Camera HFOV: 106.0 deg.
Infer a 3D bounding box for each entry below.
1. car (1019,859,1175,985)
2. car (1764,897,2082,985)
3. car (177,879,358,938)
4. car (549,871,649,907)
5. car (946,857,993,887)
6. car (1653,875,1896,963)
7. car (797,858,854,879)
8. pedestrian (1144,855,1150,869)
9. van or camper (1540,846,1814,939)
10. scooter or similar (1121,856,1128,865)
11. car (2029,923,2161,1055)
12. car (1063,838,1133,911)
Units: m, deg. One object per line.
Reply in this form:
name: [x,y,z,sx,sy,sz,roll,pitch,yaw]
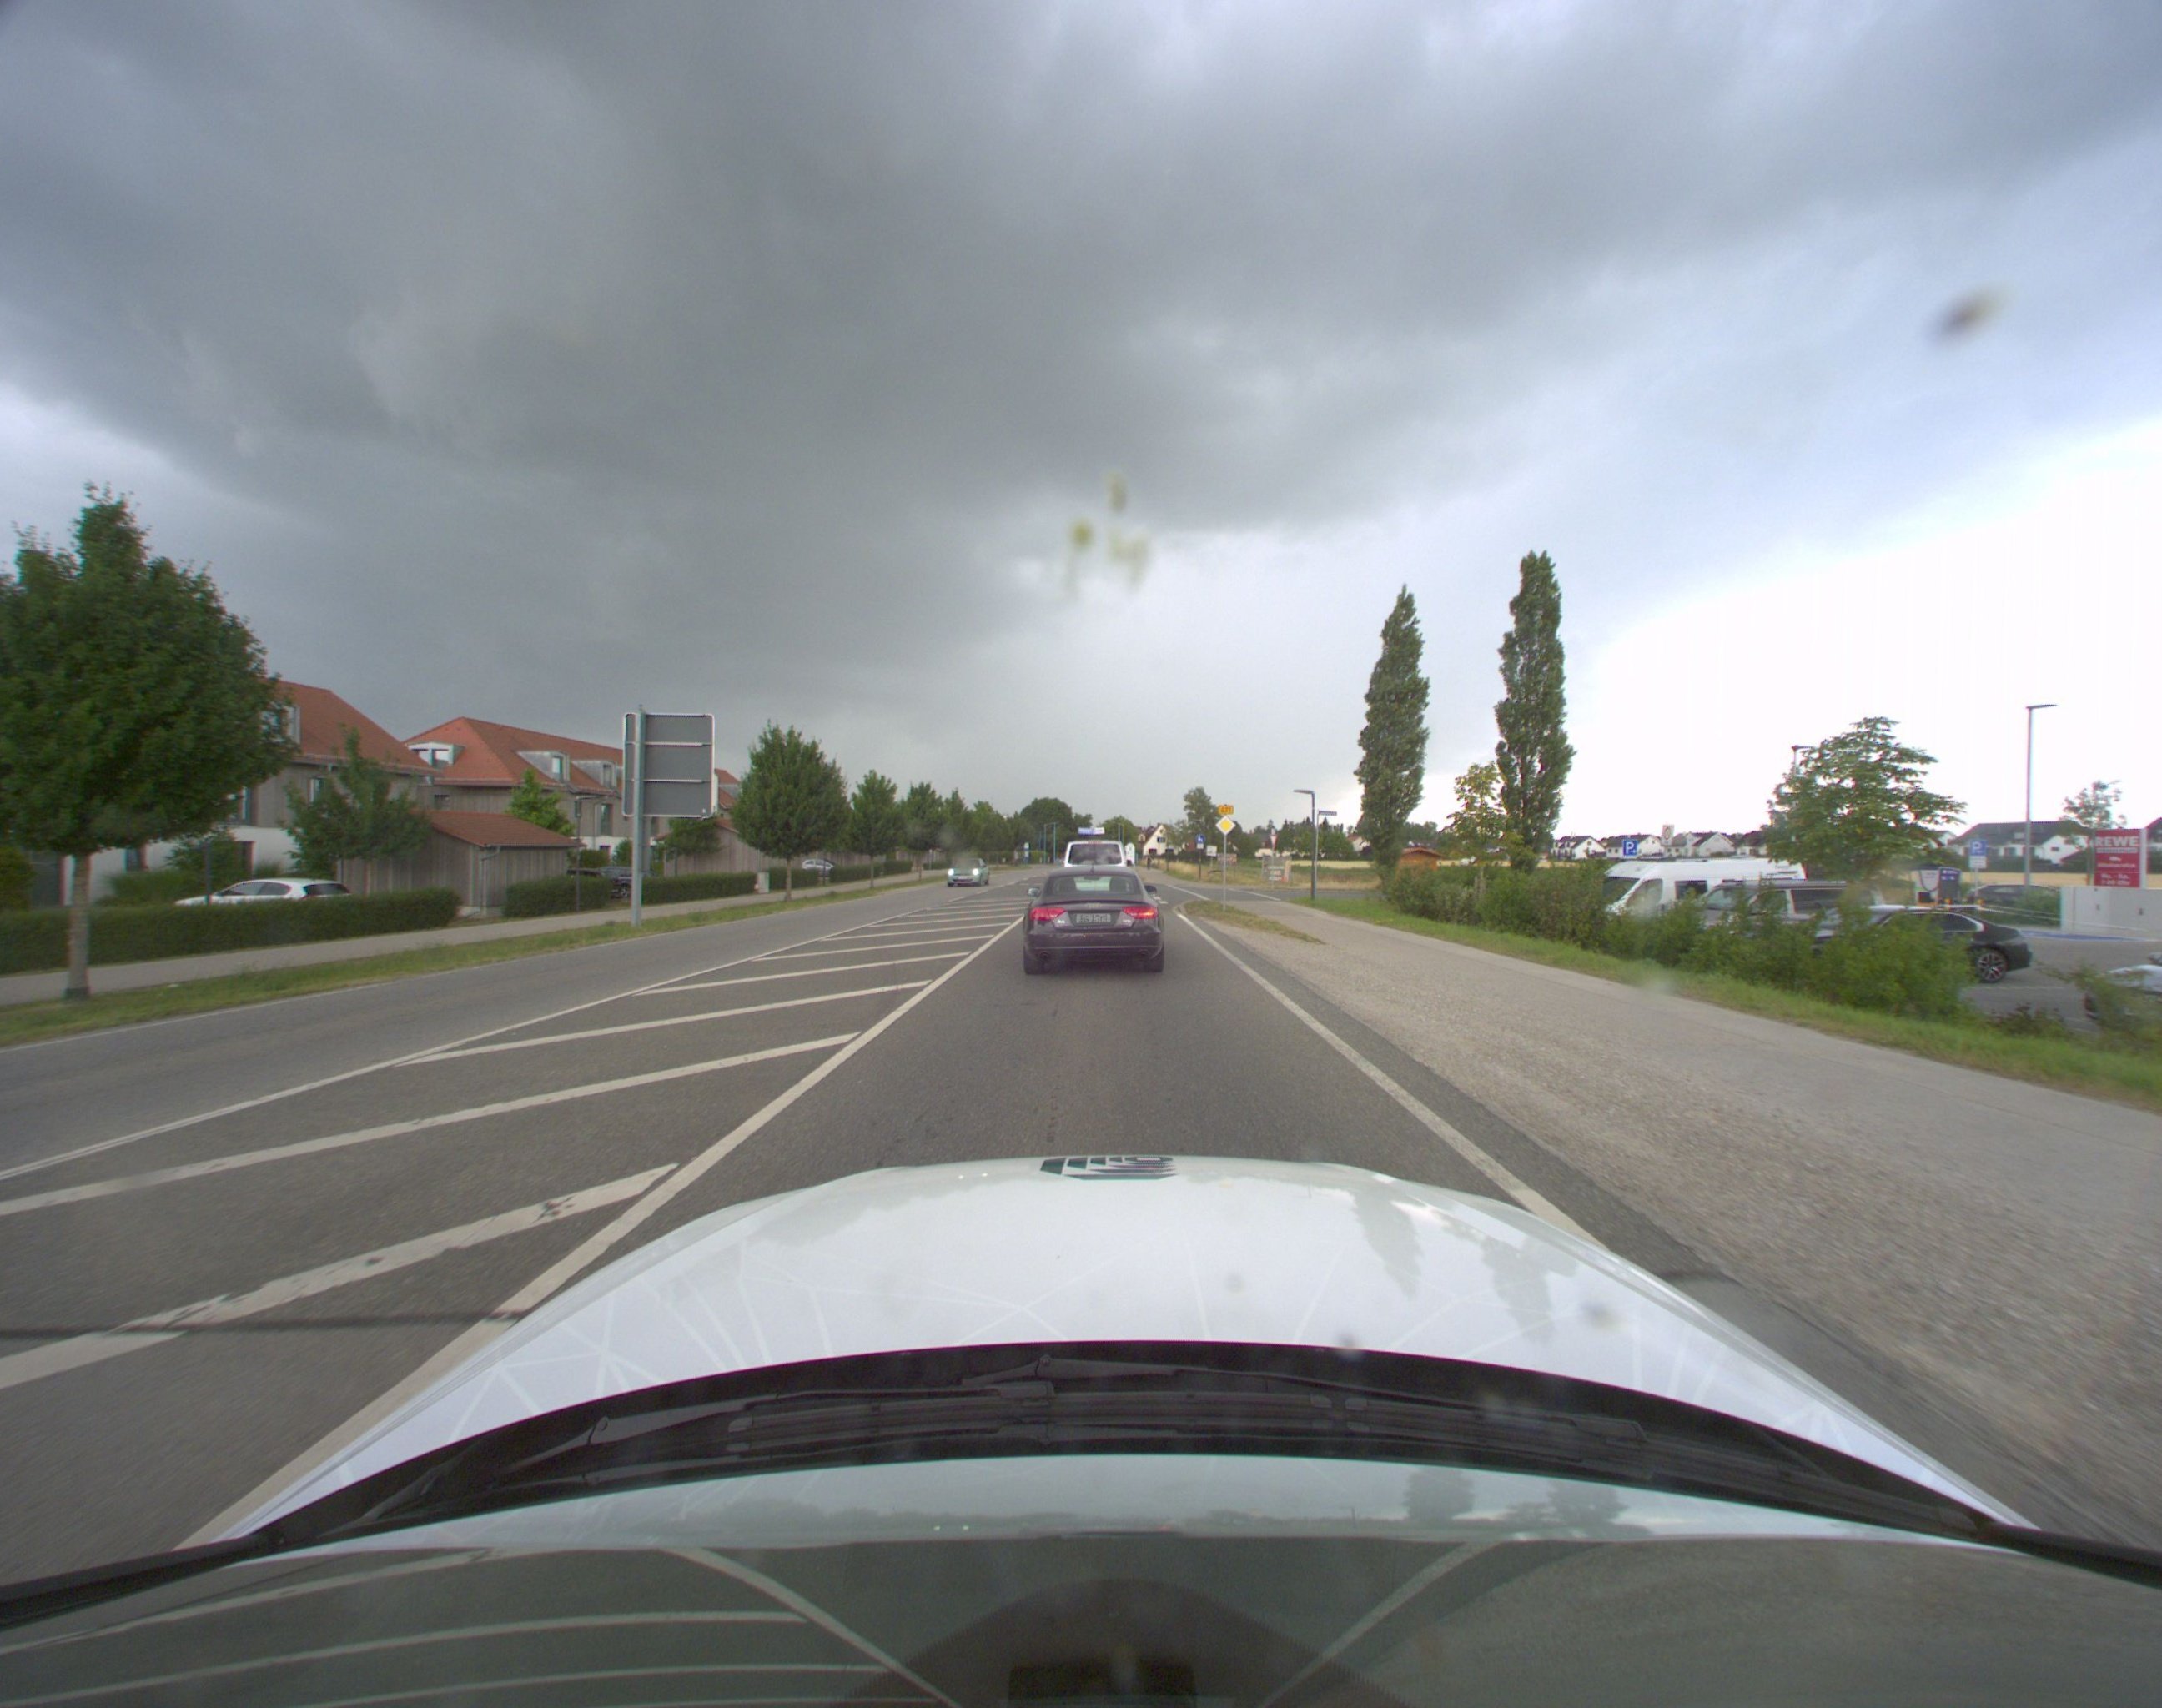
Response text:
car: [0.093,0.822,11.846,1.821,1.388,4.383,-2,0,-3]
car: [17.972,1.826,17.546,5.080,1.598,1.758,-1,0,-1]
car: [-22.765,1.498,22.865,3.501,1.489,1.564,-1,0,1]
car: [-21.506,1.554,36.401,3.501,1.489,1.564,-1,0,1]
car: [-5.779,0.900,42.707,1.763,1.443,4.002,-1,0,2]
car: [17.670,1.614,20.920,4.579,2.013,1.999,-1,0,-1]
car: [-21.168,1.185,67.473,3.971,1.556,2.002,2,0,2]
pedestrian: [7.539,0.919,92.776,0.621,1.525,0.680,-1,0,1]
van or camper: [17.337,1.073,23.921,6.447,2.464,2.280,-1,0,-1]
scooter or similar: [5.837,0.887,109.621,0.845,1.103,1.094,-1,0,2]
car: [16.672,1.871,11.522,4.134,1.598,2.080,-1,0,-1]
car: [0.468,0.555,23.798,1.820,1.913,3.999,1,0,0]
